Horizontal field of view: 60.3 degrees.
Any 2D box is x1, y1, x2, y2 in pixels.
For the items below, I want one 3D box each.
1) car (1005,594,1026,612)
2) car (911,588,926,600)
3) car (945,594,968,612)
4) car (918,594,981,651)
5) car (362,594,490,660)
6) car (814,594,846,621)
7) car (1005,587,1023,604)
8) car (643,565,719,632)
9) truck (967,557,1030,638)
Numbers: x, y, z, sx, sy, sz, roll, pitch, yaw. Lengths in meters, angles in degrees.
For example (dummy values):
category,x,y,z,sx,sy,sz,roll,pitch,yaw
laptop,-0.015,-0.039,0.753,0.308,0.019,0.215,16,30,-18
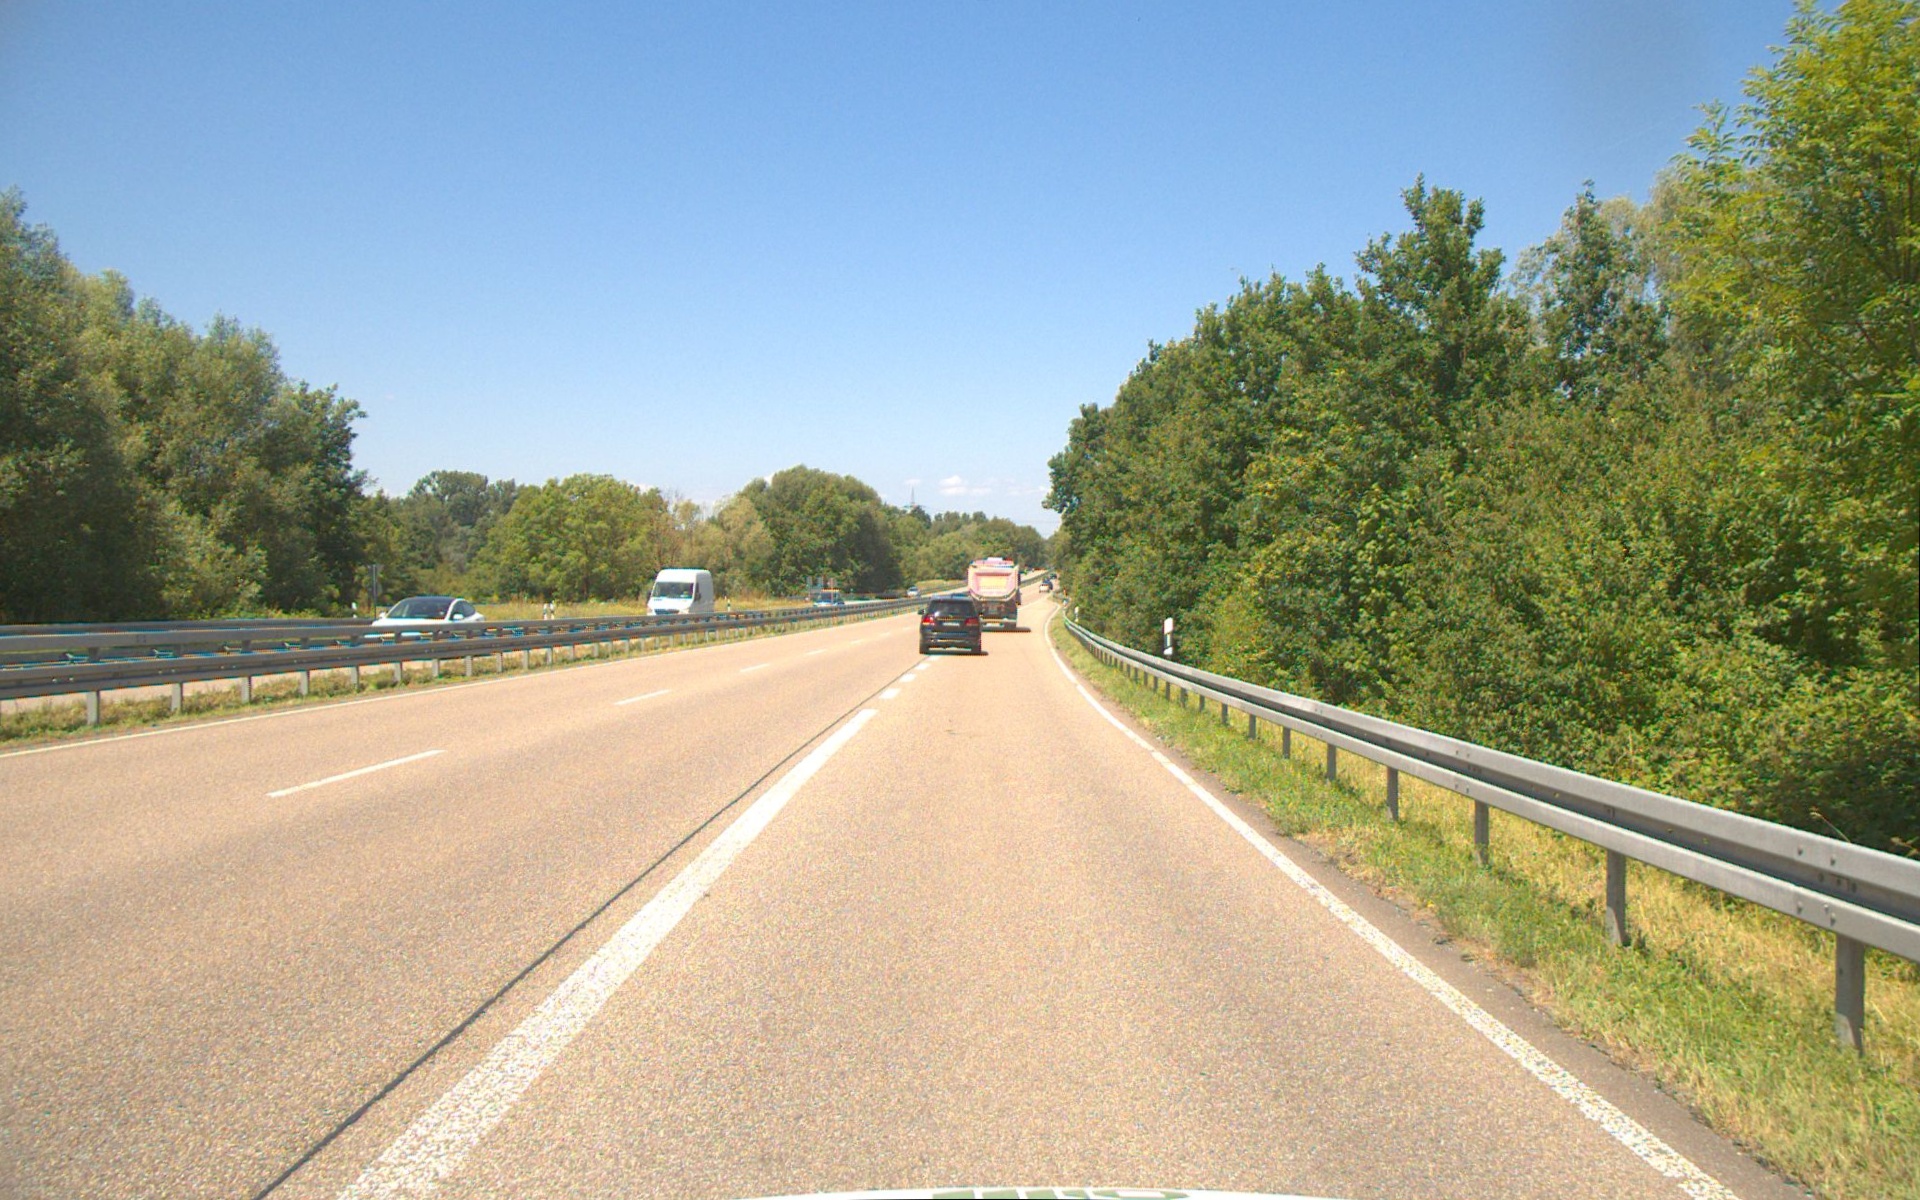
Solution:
category,x,y,z,sx,sy,sz,roll,pitch,yaw
car,5.493,0.321,163.179,1.818,1.700,4.002,1,0,4
car,-5.893,-0.857,236.364,1.688,1.673,4.945,1,1,4
car,-0.307,0.293,154.344,1.818,1.700,4.002,1,0,4
car,-0.293,0.673,51.251,1.819,1.700,4.000,1,0,1
car,-13.013,0.629,40.567,1.879,1.515,3.999,1,0,-1
car,-9.227,0.540,117.670,1.824,1.862,4.660,1,0,1
car,5.819,-0.476,177.463,1.818,1.700,4.002,1,0,4
car,-12.012,-0.065,71.667,2.059,2.730,6.627,1,0,0
truck,2.150,-0.299,87.736,2.663,3.998,12.378,0,1,4
